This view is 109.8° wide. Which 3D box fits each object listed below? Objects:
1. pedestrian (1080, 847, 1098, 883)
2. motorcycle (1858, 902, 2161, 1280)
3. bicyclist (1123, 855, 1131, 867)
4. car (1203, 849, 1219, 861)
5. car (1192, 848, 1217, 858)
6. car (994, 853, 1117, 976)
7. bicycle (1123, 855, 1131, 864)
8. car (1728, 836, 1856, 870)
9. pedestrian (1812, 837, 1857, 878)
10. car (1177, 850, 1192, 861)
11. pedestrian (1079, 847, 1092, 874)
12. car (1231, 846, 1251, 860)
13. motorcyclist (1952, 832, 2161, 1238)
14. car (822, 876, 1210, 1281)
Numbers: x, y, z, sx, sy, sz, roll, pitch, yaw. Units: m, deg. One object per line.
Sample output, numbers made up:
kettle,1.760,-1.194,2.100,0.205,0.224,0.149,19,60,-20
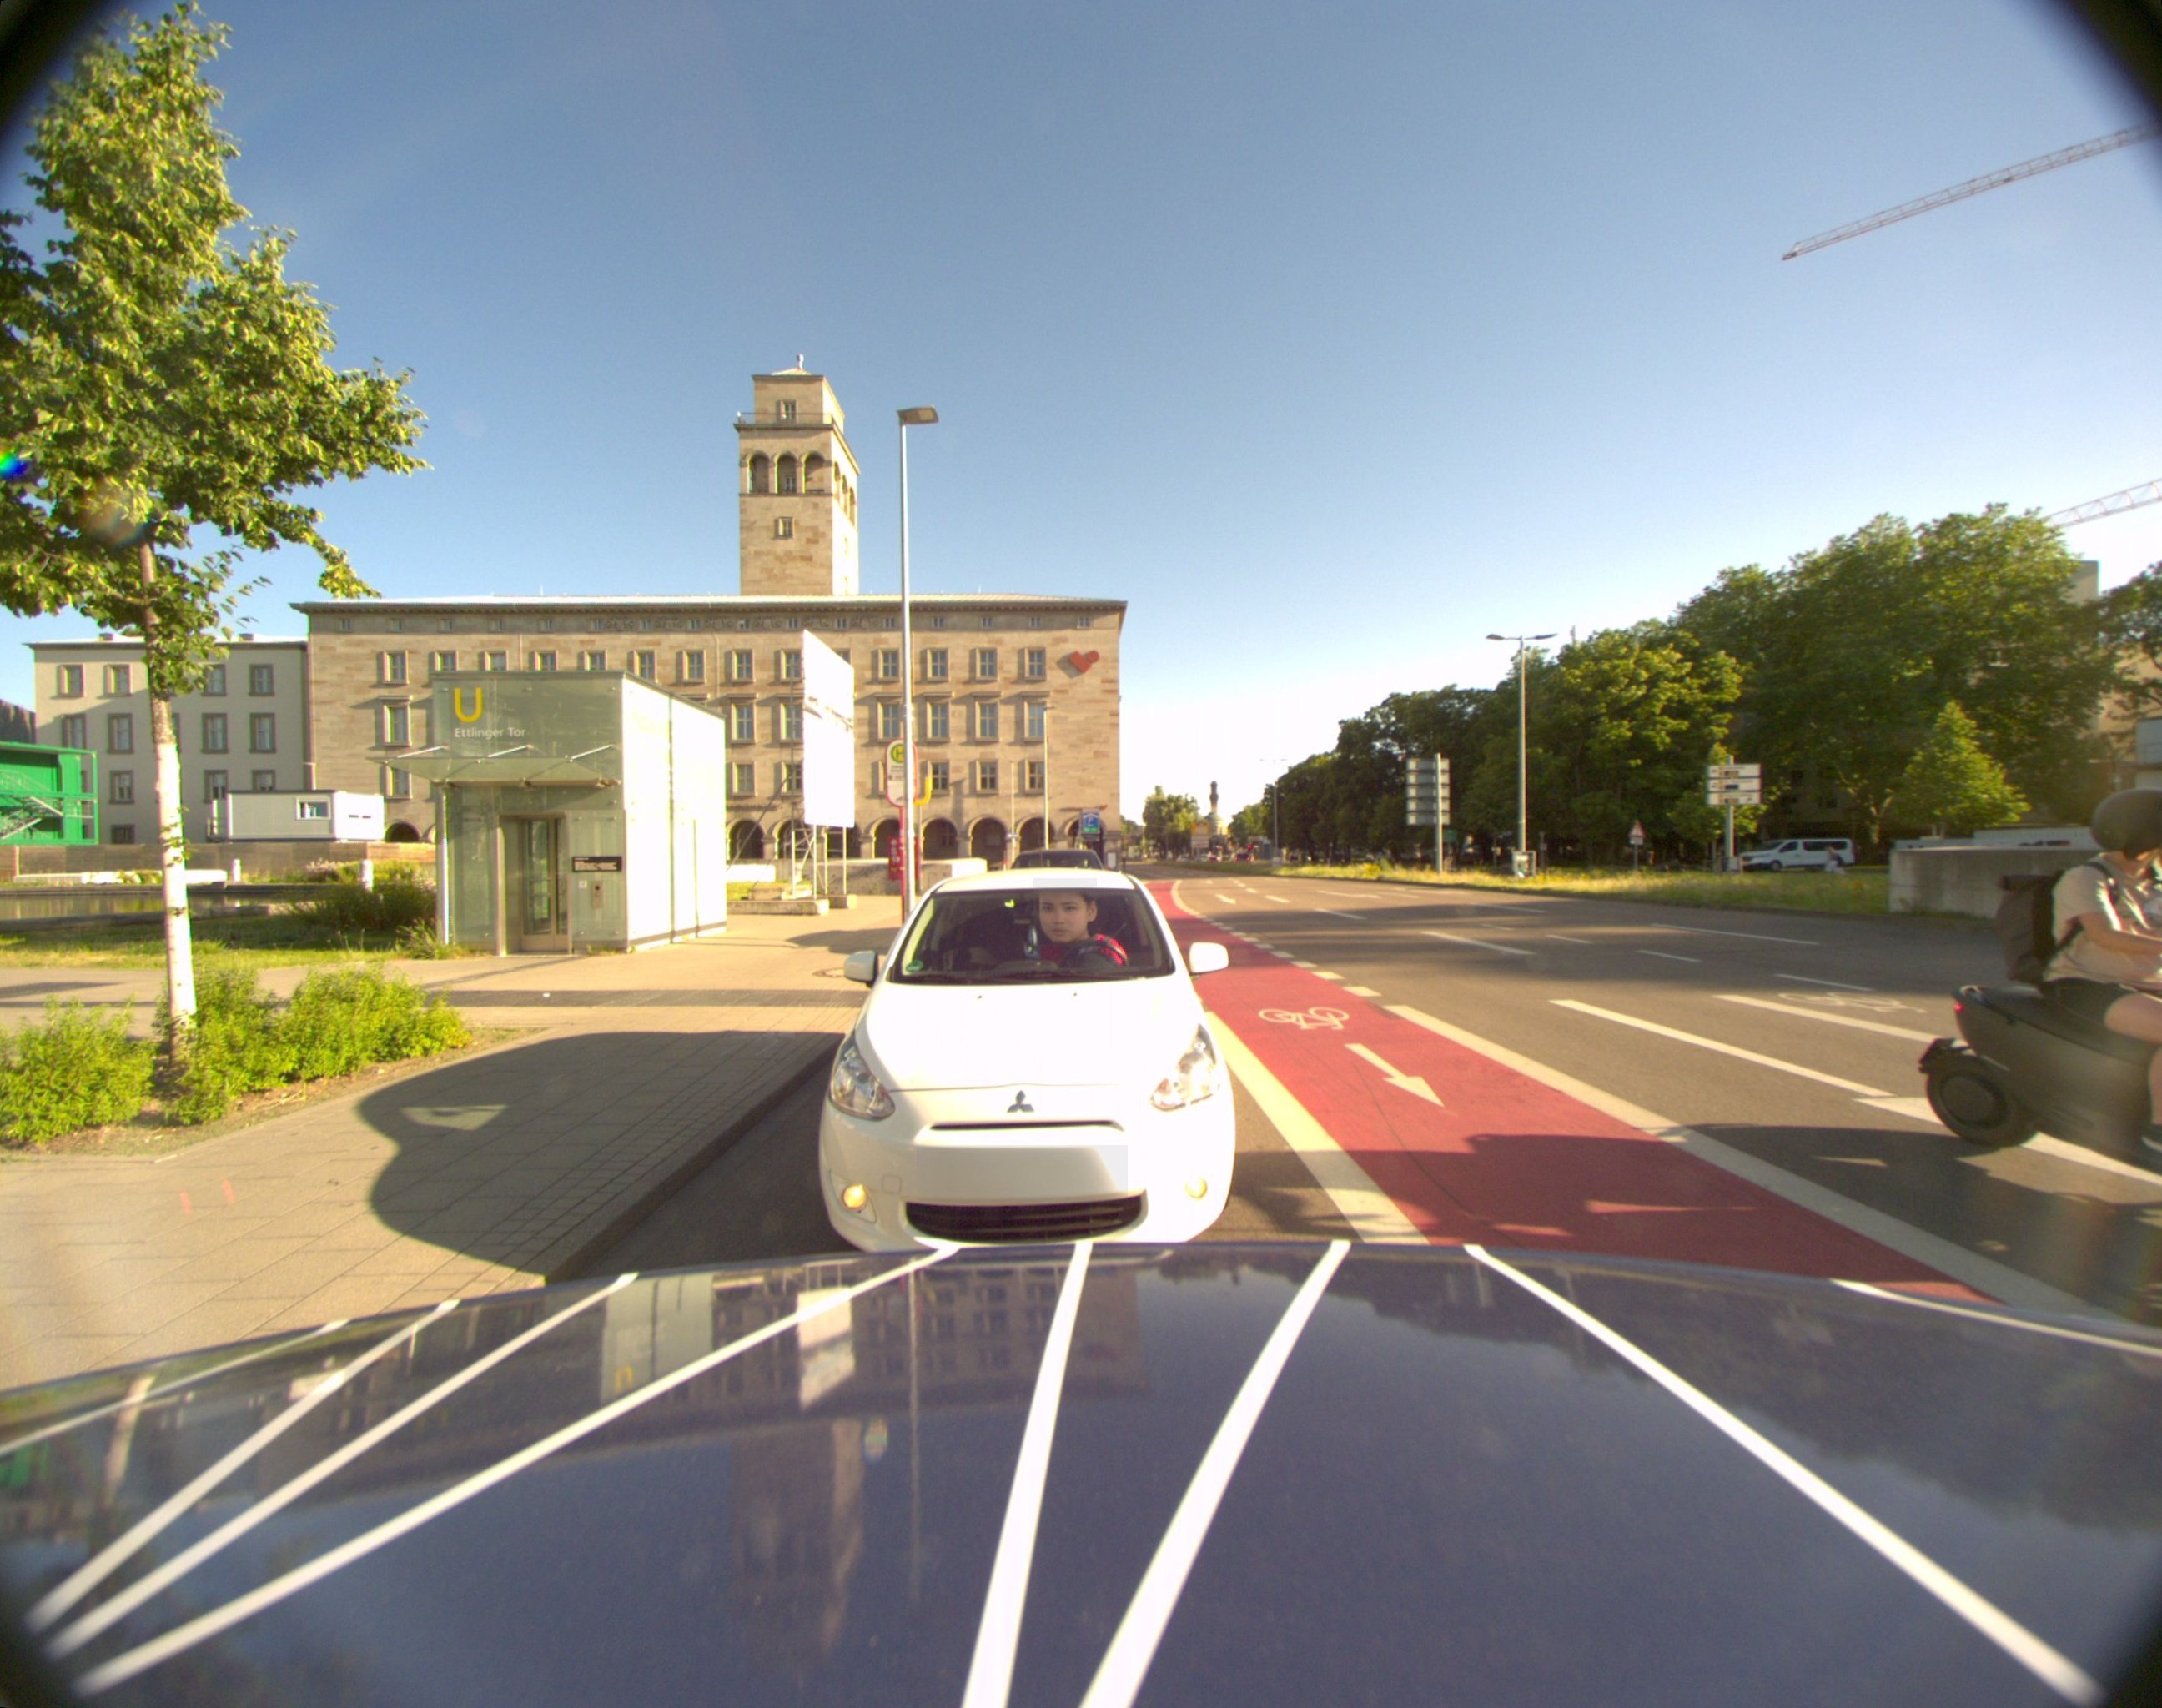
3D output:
pedestrian,0.572,0.781,54.129,1.122,2.524,1.055,-2,1,1
motorcycle,4.282,0.898,2.885,0.724,1.286,1.884,-2,0,1
bicyclist,5.601,0.864,92.560,0.854,1.340,0.829,-2,1,1
car,20.577,0.118,120.441,1.747,1.778,3.947,-2,1,1
car,22.970,-0.186,141.458,3.989,1.677,1.854,-2,1,32
car,-0.375,0.839,12.518,1.642,1.653,3.849,-2,0,-1
bicycle,5.586,0.673,92.611,0.854,1.109,2.808,-2,0,1
car,42.129,-0.052,45.113,5.516,1.924,2.065,-1,1,2
pedestrian,34.117,0.159,34.401,0.989,1.821,1.019,-2,1,-3
car,16.372,0.253,120.525,1.849,1.677,3.999,-2,1,1
pedestrian,0.411,0.592,71.389,1.122,2.524,1.055,-2,1,1
car,21.673,-0.155,102.797,1.819,1.817,3.999,-2,1,1
motorcyclist,4.275,0.654,2.938,0.727,1.466,0.917,-2,0,1
car,-0.235,0.953,4.838,1.496,1.477,3.604,-2,0,1
